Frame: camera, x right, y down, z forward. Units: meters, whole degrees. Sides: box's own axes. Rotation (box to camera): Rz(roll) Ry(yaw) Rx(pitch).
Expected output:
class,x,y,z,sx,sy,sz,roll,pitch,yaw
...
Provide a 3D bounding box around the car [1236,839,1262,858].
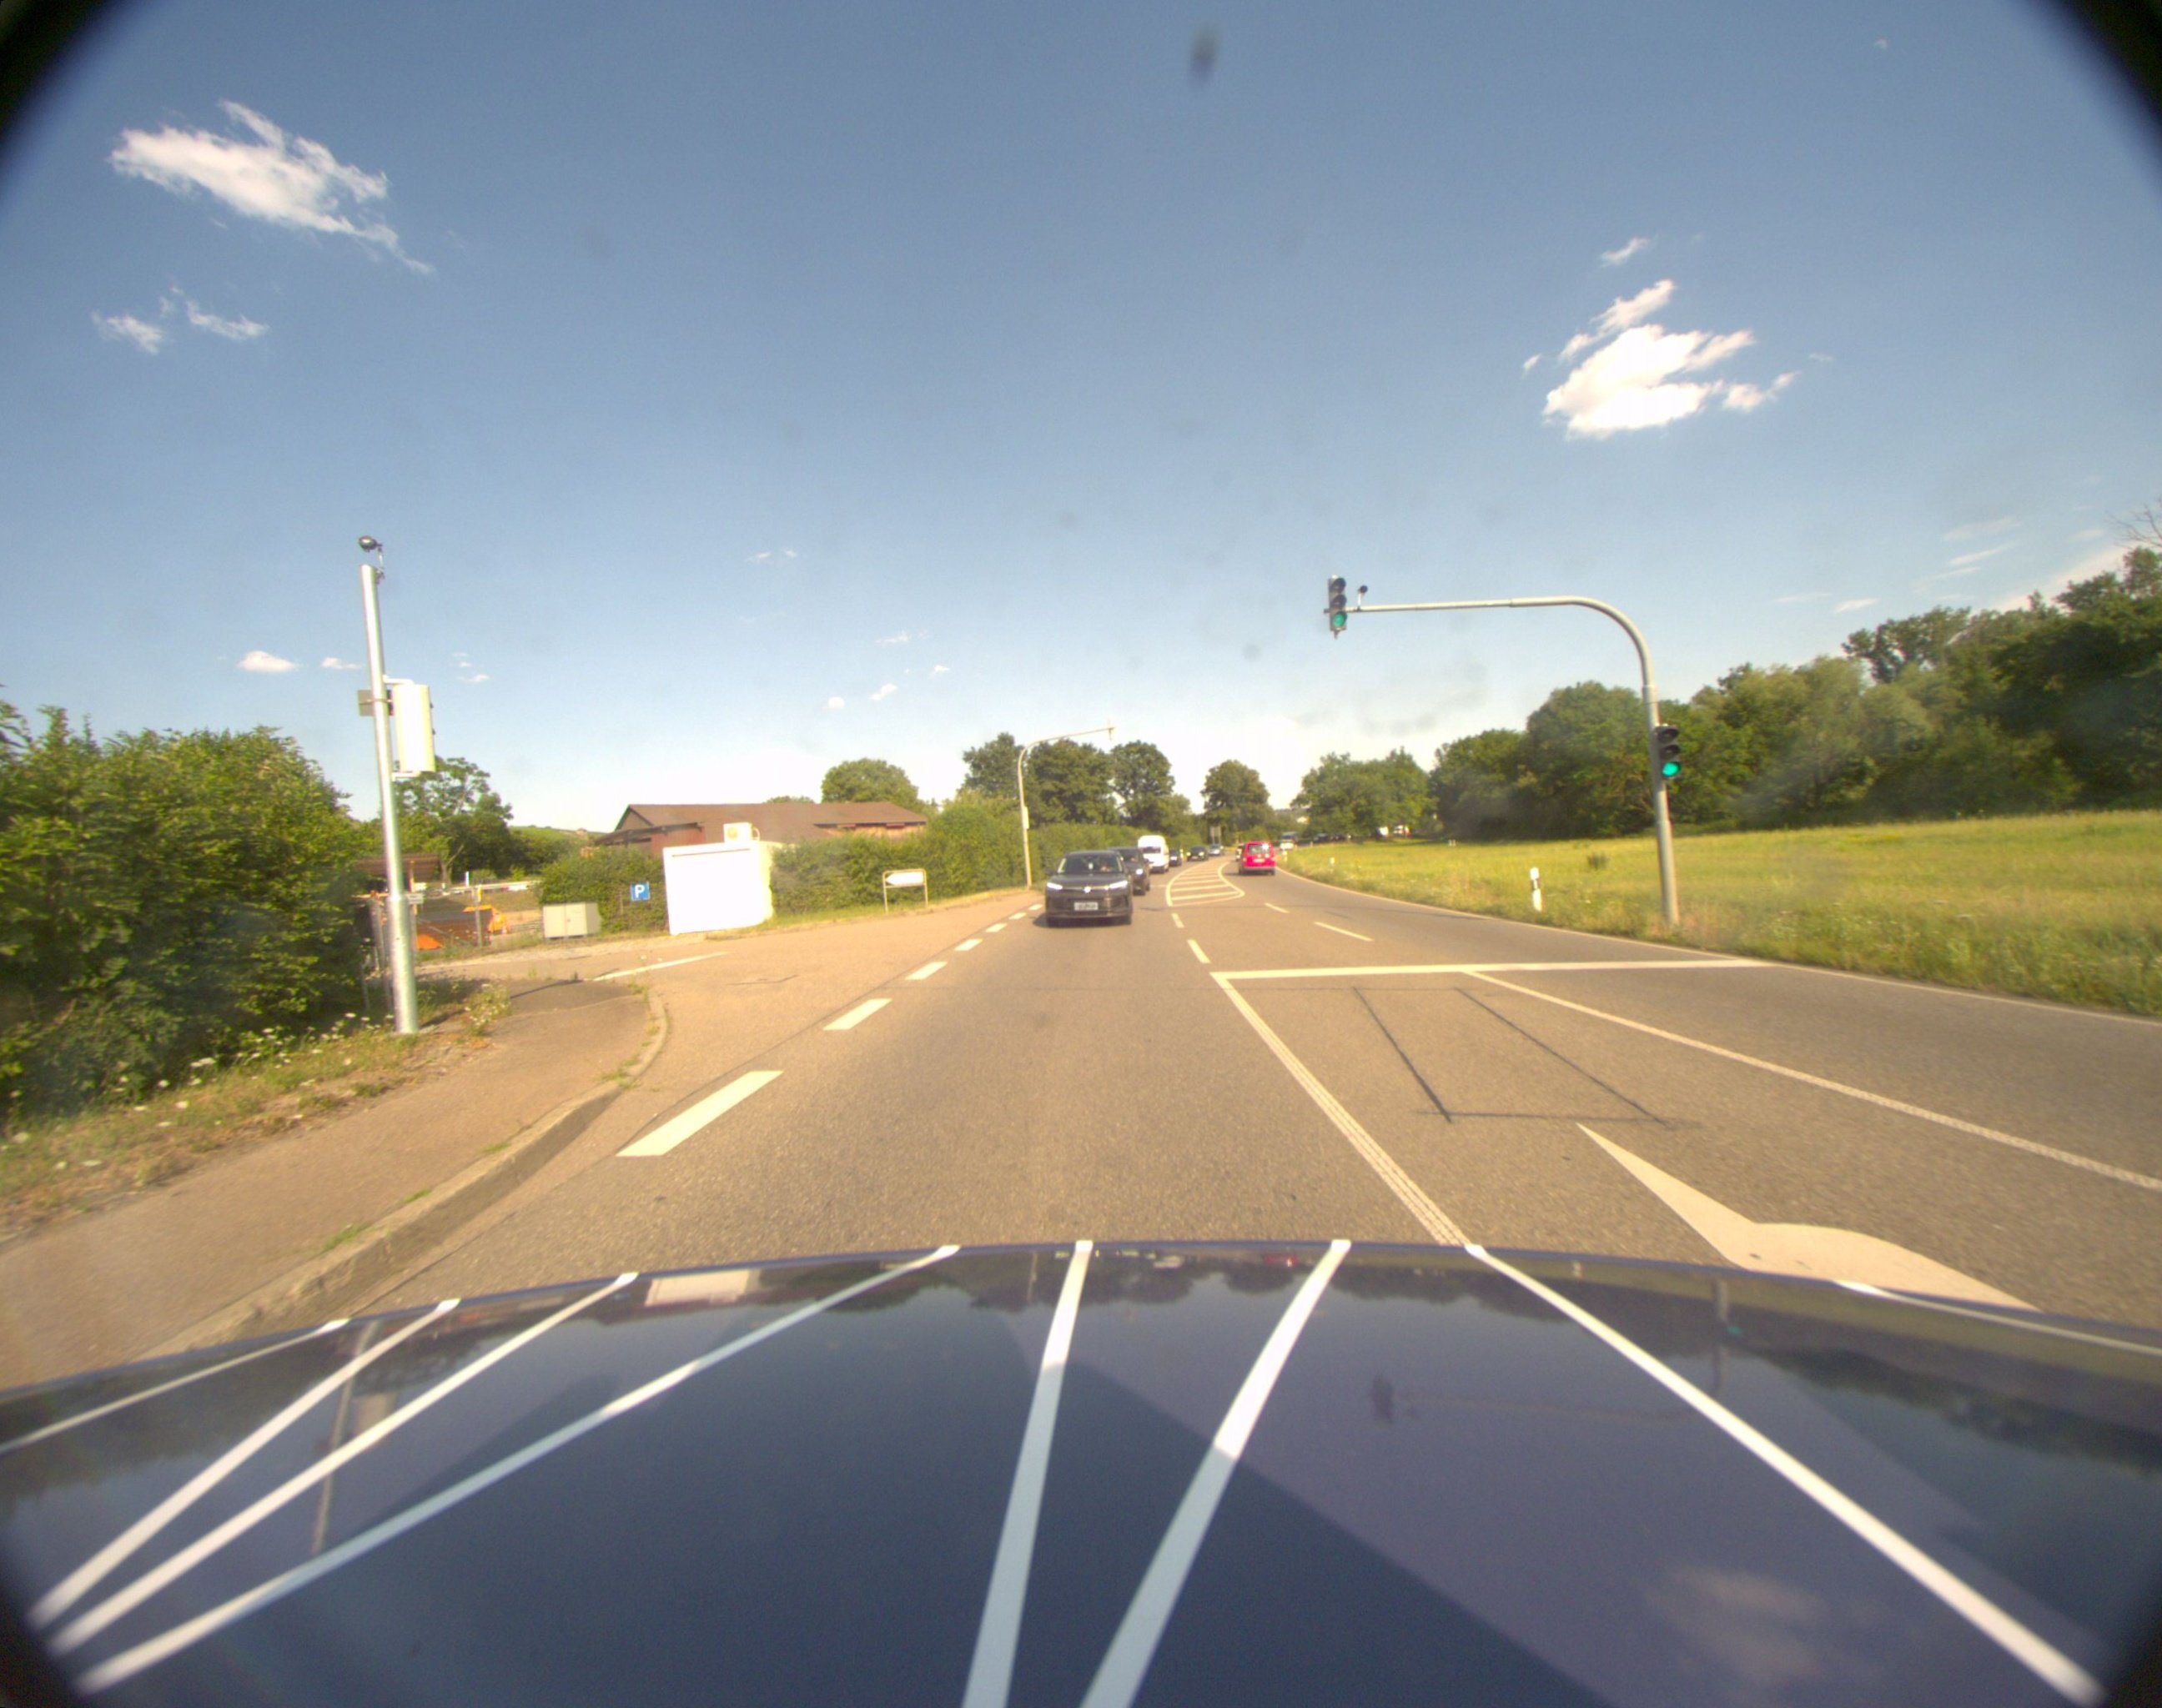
class,x,y,z,sx,sy,sz,roll,pitch,yaw
car,15.368,-0.494,69.299,1.883,1.577,4.335,-1,0,17

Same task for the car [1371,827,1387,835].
class,x,y,z,sx,sy,sz,roll,pitch,yaw
car,66.655,-5.133,169.908,1.995,1.543,4.007,-4,0,39

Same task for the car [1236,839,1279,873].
class,x,y,z,sx,sy,sz,roll,pitch,yaw
car,9.723,0.119,42.129,1.884,1.765,4.324,-1,0,8

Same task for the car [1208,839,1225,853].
class,x,y,z,sx,sy,sz,roll,pitch,yaw
car,16.447,-1.015,92.198,1.633,1.550,3.420,0,2,16

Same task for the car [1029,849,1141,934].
class,x,y,z,sx,sy,sz,roll,pitch,yaw
car,0.225,0.759,17.332,1.864,1.633,4.003,-1,1,10

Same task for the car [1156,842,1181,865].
class,x,y,z,sx,sy,sz,roll,pitch,yaw
car,6.908,-0.072,59.747,1.692,1.718,3.671,-1,1,11

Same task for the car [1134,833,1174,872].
class,x,y,z,sx,sy,sz,roll,pitch,yaw
car,4.628,-0.140,47.776,1.842,2.338,4.793,-1,1,13

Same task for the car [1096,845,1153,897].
class,x,y,z,sx,sy,sz,roll,pitch,yaw
car,1.647,0.575,27.641,1.658,1.720,3.807,-1,0,9

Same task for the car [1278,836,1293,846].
class,x,y,z,sx,sy,sz,roll,pitch,yaw
car,30.147,-1.918,111.903,1.748,1.458,3.483,-1,1,20

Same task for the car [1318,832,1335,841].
class,x,y,z,sx,sy,sz,roll,pitch,yaw
car,45.684,-3.296,141.427,1.928,1.577,4.081,0,1,35

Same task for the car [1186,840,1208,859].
class,x,y,z,sx,sy,sz,roll,pitch,yaw
car,11.352,-0.424,74.196,1.672,1.718,3.671,-1,1,14

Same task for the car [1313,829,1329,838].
class,x,y,z,sx,sy,sz,roll,pitch,yaw
car,48.555,-4.072,153.726,1.995,1.543,4.007,-4,0,35

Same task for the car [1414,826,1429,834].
class,x,y,z,sx,sy,sz,roll,pitch,yaw
car,85.074,-6.029,189.808,1.995,1.846,4.007,-4,1,44

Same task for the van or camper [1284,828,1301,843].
class,x,y,z,sx,sy,sz,roll,pitch,yaw
van or camper,38.491,-3.399,138.144,2.031,2.461,5.085,-4,0,25

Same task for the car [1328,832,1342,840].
class,x,y,z,sx,sy,sz,roll,pitch,yaw
car,54.791,-3.909,163.786,1.995,1.543,4.006,-4,0,32

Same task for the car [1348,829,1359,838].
class,x,y,z,sx,sy,sz,roll,pitch,yaw
car,62.145,-4.696,173.360,1.405,2.002,3.240,-4,1,37
